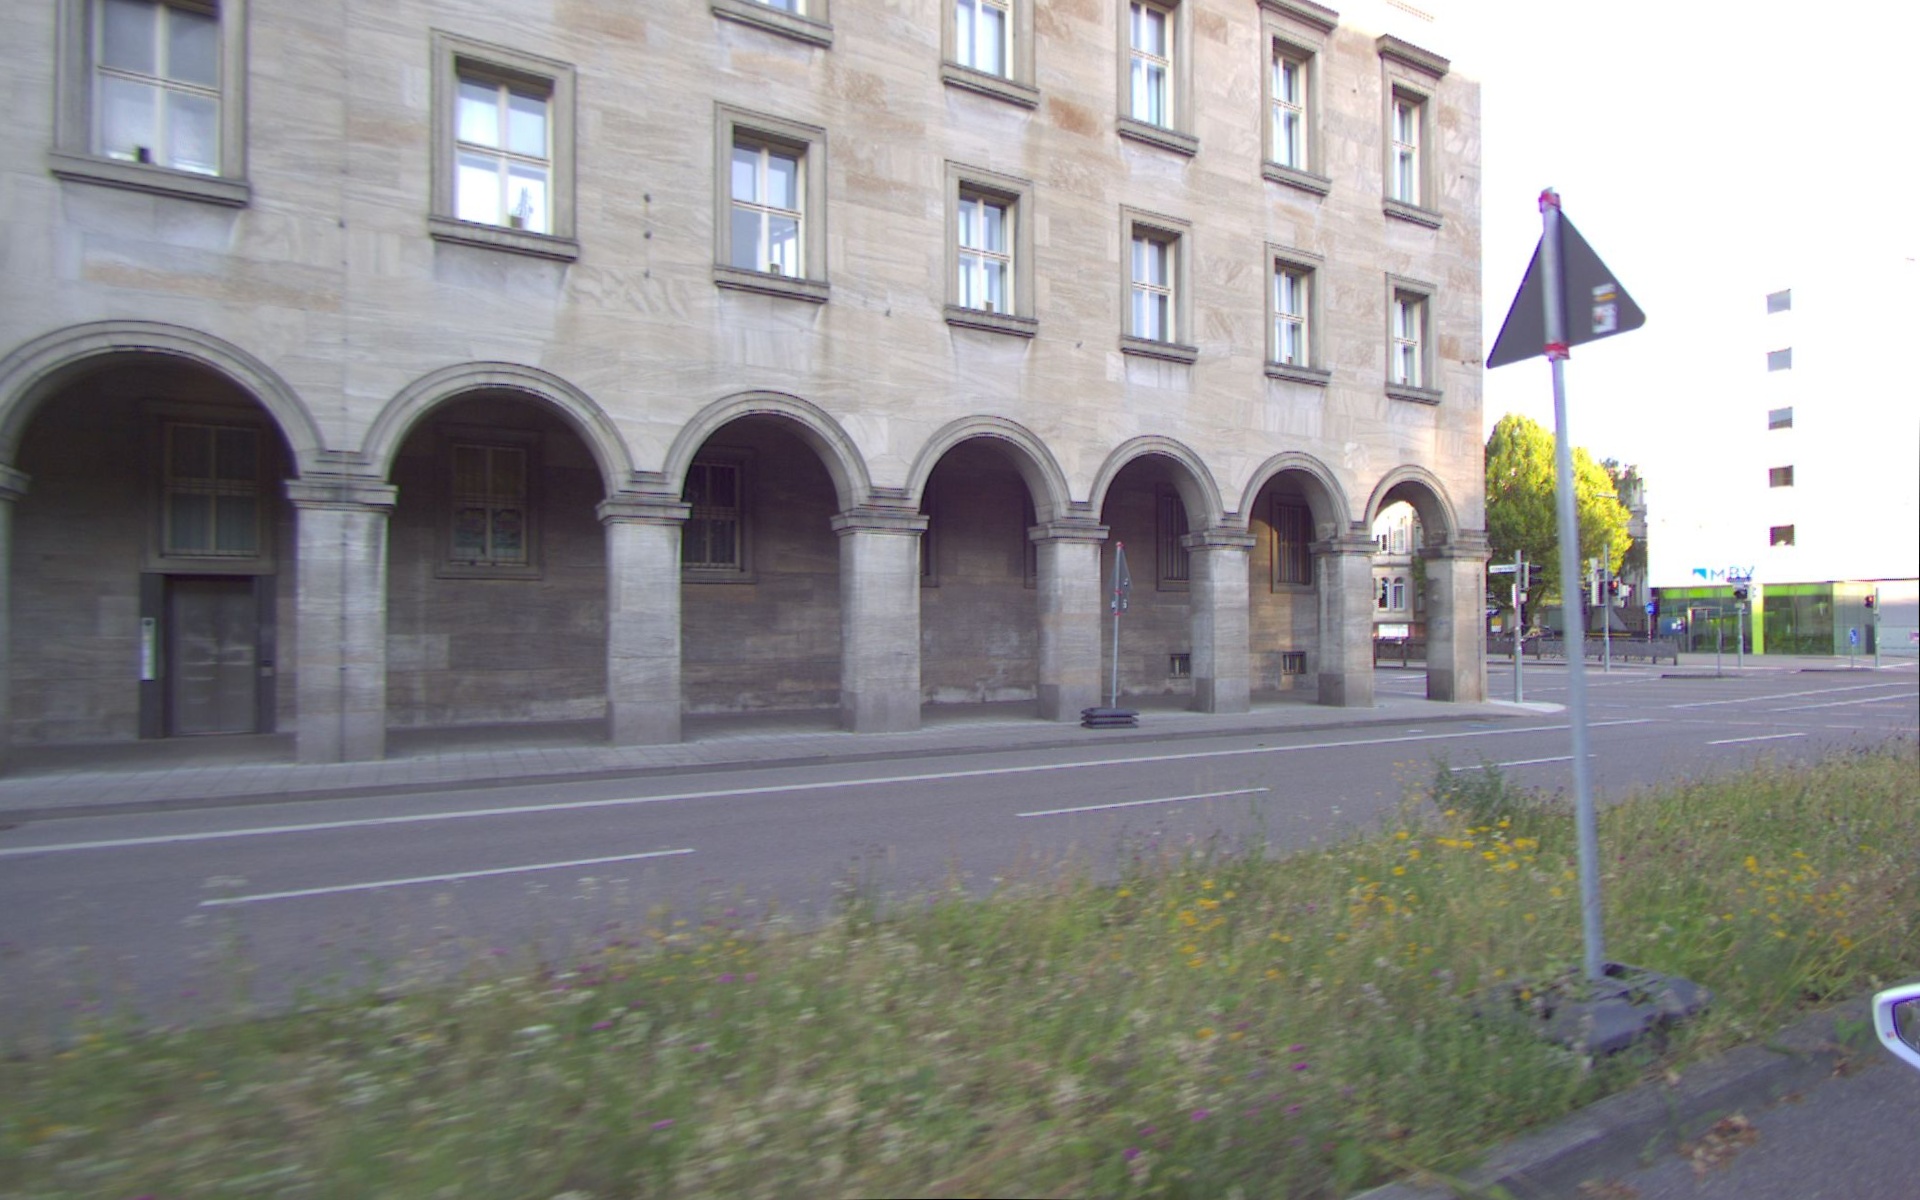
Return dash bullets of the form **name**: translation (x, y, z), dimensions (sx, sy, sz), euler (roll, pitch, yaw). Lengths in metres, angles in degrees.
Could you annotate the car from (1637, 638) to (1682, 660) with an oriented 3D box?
- **car**: translation (35.202, 2.451, 50.557), dimensions (2.491, 1.088, 0.850), euler (1, -2, -30)
